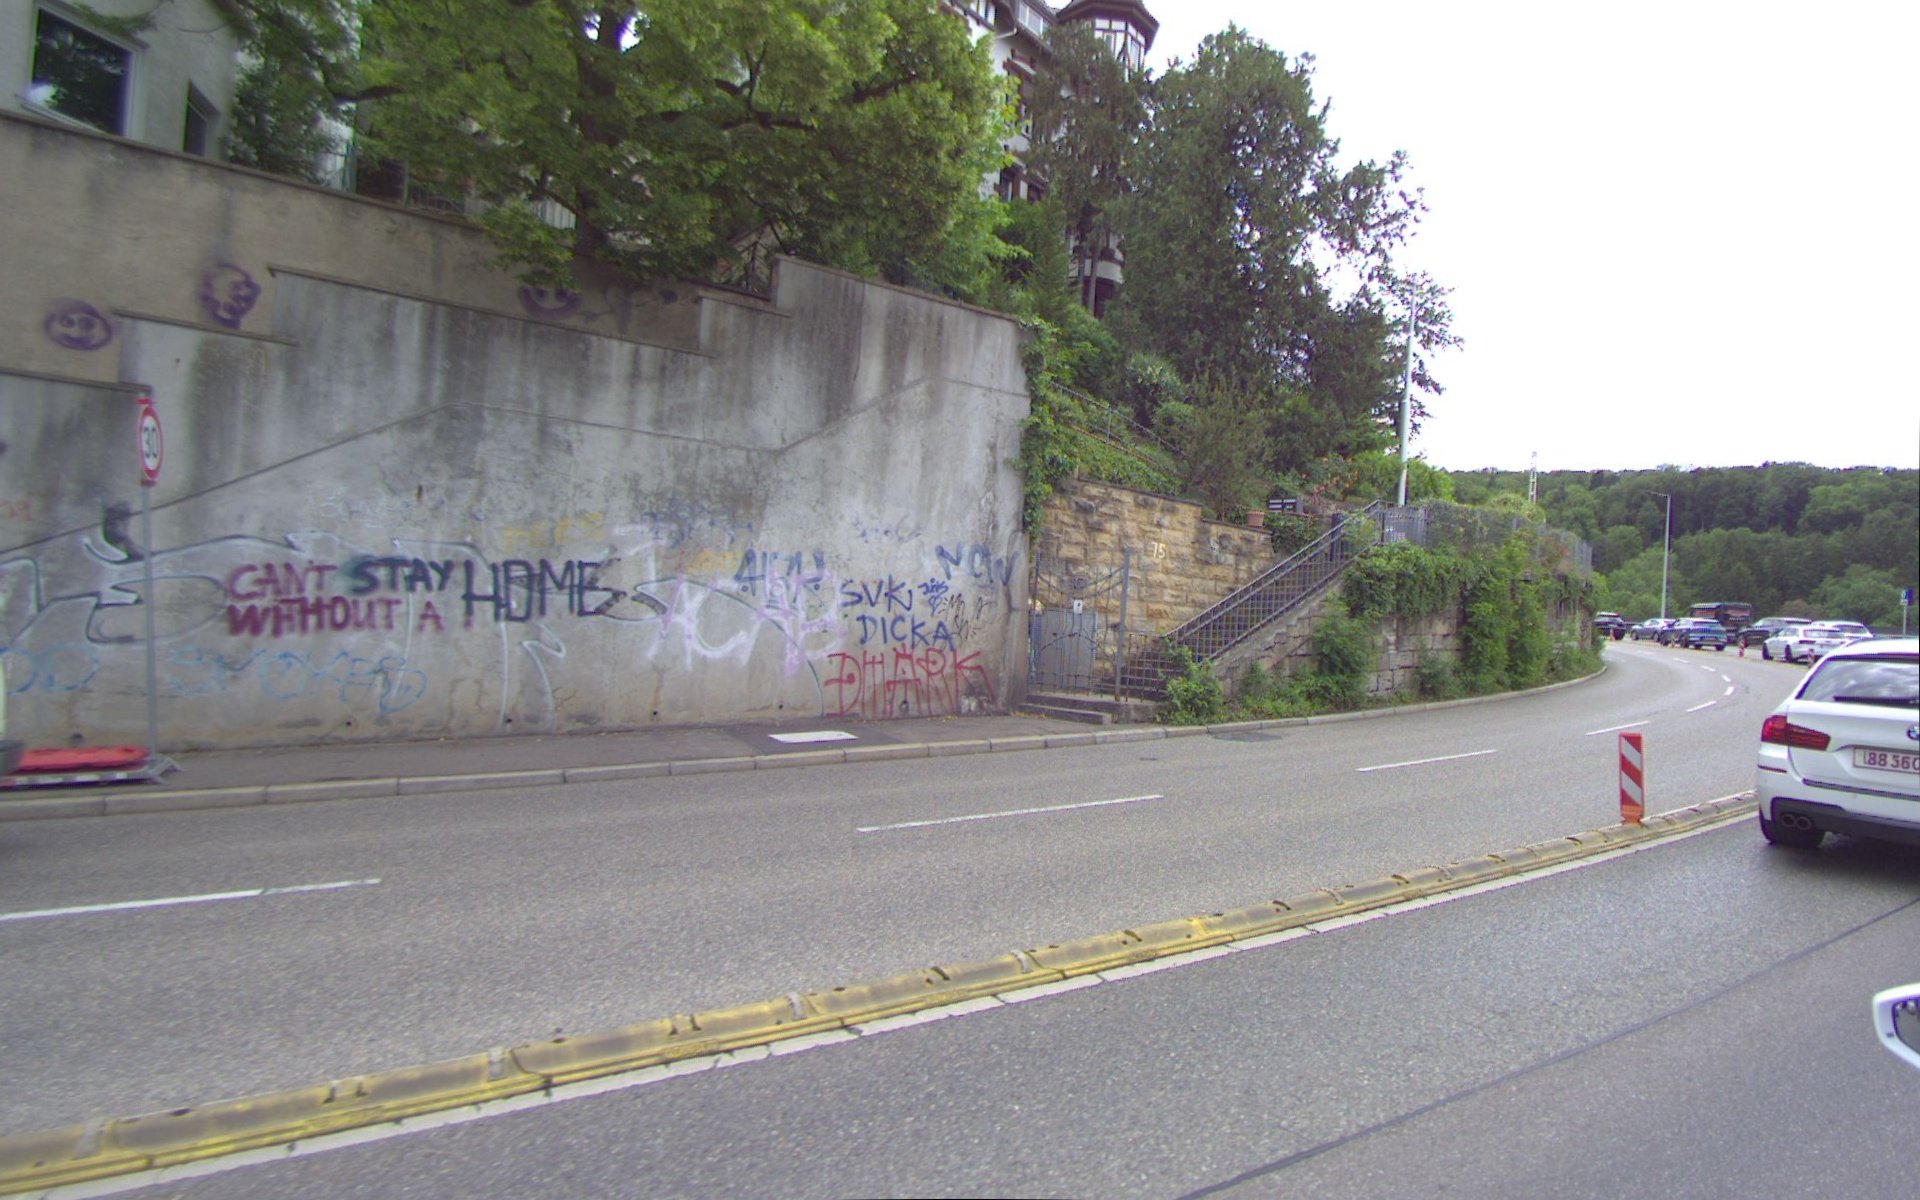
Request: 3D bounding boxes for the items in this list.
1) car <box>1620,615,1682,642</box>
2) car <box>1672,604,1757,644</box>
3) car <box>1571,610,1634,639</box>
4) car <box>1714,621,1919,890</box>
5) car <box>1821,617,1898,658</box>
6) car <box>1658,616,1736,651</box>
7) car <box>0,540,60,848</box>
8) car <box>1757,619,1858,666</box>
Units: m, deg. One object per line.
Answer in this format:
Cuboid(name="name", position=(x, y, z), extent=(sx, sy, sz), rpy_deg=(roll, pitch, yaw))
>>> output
Cuboid(name="car", position=(42.769, 1.734, 62.269), extent=(1.665, 1.546, 3.537), rpy_deg=(2, 1, 6))
Cuboid(name="car", position=(46.142, 1.413, 61.562), extent=(2.040, 2.223, 4.735), rpy_deg=(2, 1, 8))
Cuboid(name="car", position=(40.670, 1.521, 63.672), extent=(1.784, 1.712, 4.002), rpy_deg=(2, 1, 8))
Cuboid(name="car", position=(7.305, 0.919, 7.097), extent=(4.831, 1.486, 1.835), rpy_deg=(1, 0, -36))
Cuboid(name="car", position=(38.633, 1.552, 43.122), extent=(3.969, 1.607, 1.976), rpy_deg=(1, 1, -41))
Cuboid(name="car", position=(37.680, 1.672, 51.479), extent=(1.960, 1.561, 4.011), rpy_deg=(2, 1, 17))
Cuboid(name="car", position=(-8.078, 0.527, 4.803), extent=(5.236, 1.853, 1.904), rpy_deg=(1, -1, -26))
Cuboid(name="car", position=(32.931, 1.602, 39.154), extent=(1.876, 1.595, 3.998), rpy_deg=(2, 1, 23))
